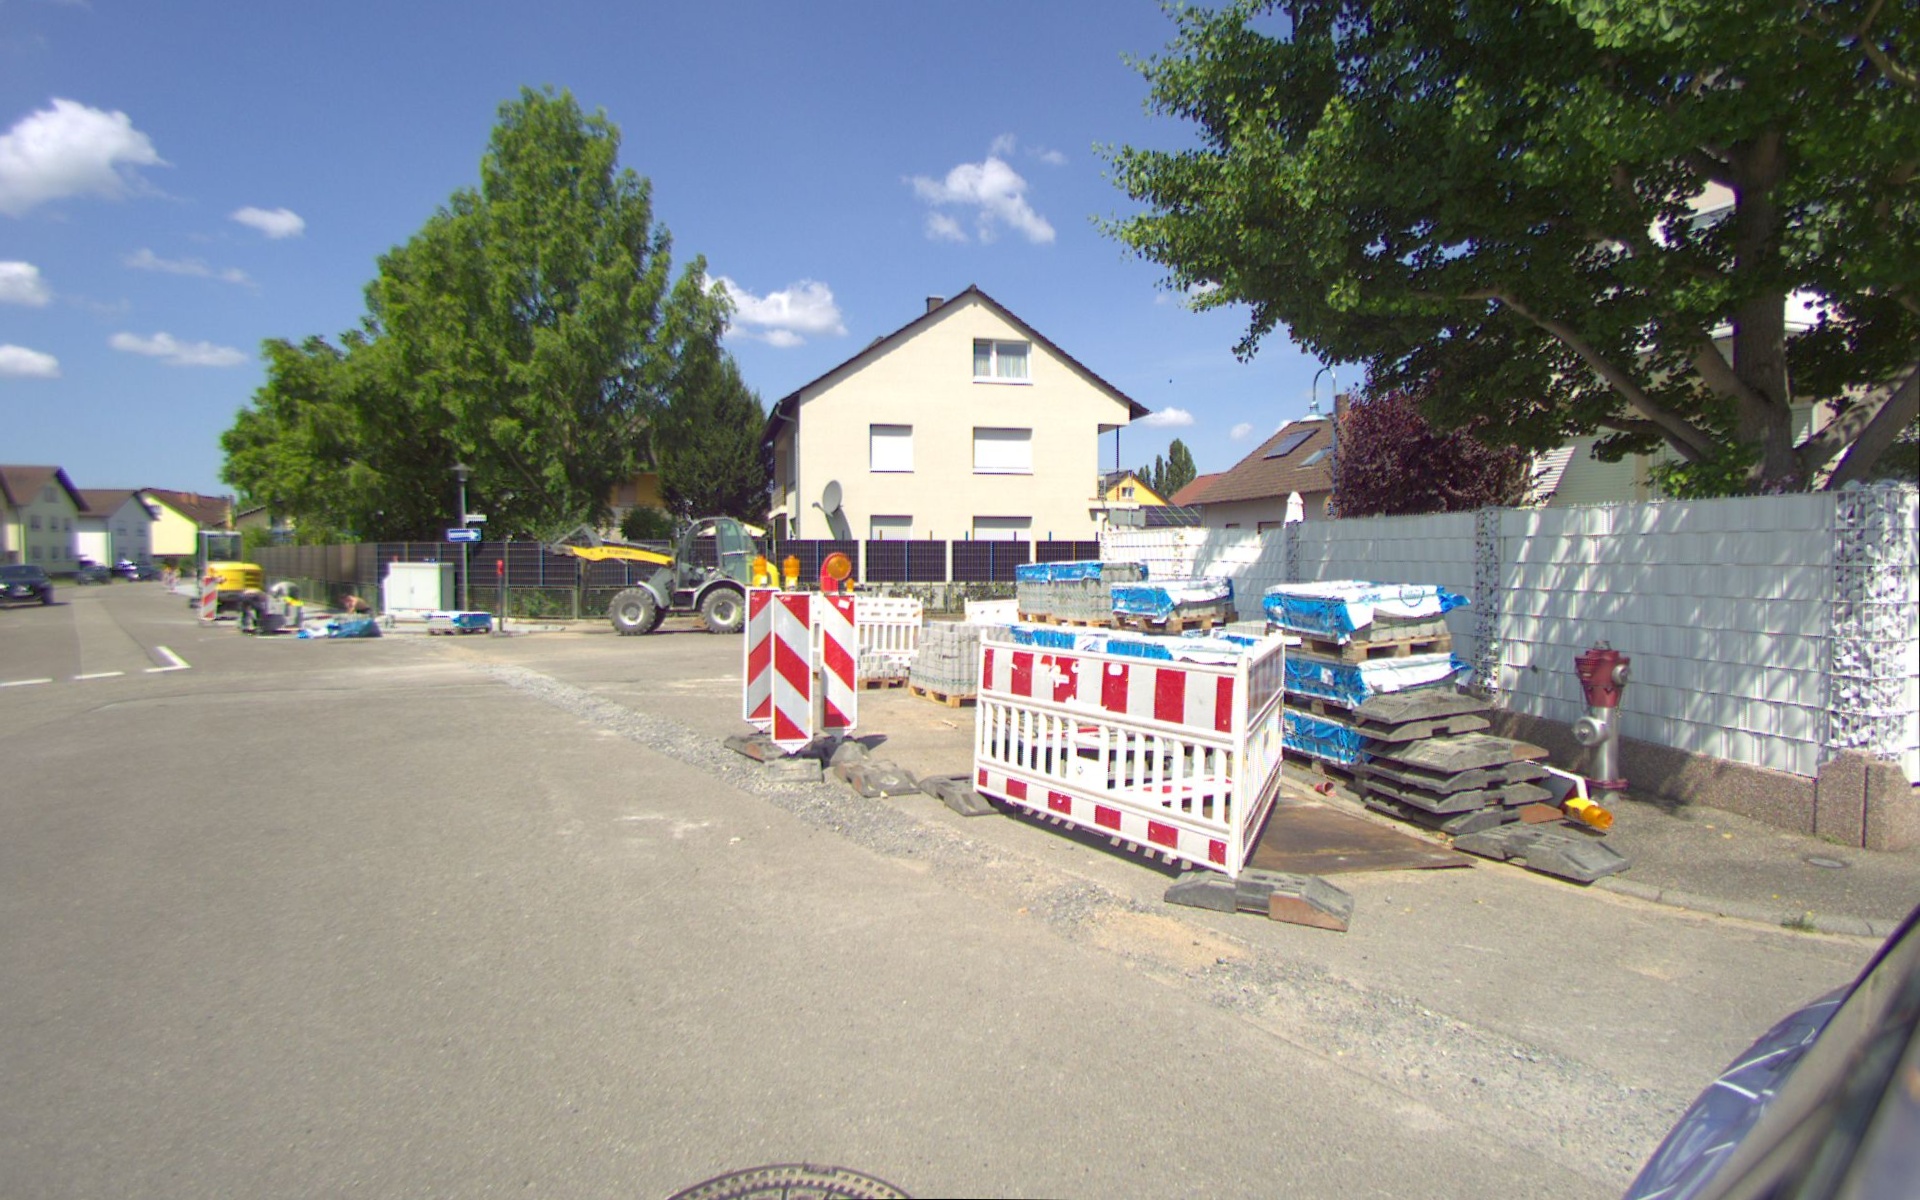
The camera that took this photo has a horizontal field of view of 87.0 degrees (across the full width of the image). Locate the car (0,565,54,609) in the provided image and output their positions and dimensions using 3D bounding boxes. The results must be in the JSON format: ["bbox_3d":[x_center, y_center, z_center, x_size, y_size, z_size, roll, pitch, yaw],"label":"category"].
[{"bbox_3d":[-36.203,-0.543,38.939,1.888,1.561,3.992,-3,3,-43],"label":"car"}]

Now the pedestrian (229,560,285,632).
[{"bbox_3d":[-15.434,-0.099,22.231,0.523,1.532,0.850,-1,3,6],"label":"pedestrian"}]

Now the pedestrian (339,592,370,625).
[{"bbox_3d":[-15.146,0.203,25.319,0.428,0.802,0.517,1,3,31],"label":"pedestrian"}]

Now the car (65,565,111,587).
[{"bbox_3d":[-70.162,-1.942,81.460,1.928,1.670,4.007,-2,3,-28],"label":"car"}]

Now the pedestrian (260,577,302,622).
[{"bbox_3d":[-18.418,-0.020,27.449,0.503,1.182,0.824,-1,3,7],"label":"pedestrian"}]

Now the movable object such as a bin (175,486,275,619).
[{"bbox_3d":[-21.528,-1.380,29.583,1.966,3.609,3.810,-2,3,-41],"label":"movable object such as a bin"}]

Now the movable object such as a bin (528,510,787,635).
[{"bbox_3d":[-6.401,-0.606,21.994,5.124,2.483,2.003,-1,0,-10],"label":"movable object such as a bin"}]

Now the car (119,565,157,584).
[{"bbox_3d":[-76.674,-2.381,94.413,1.959,1.670,4.007,-2,3,-28],"label":"car"}]
